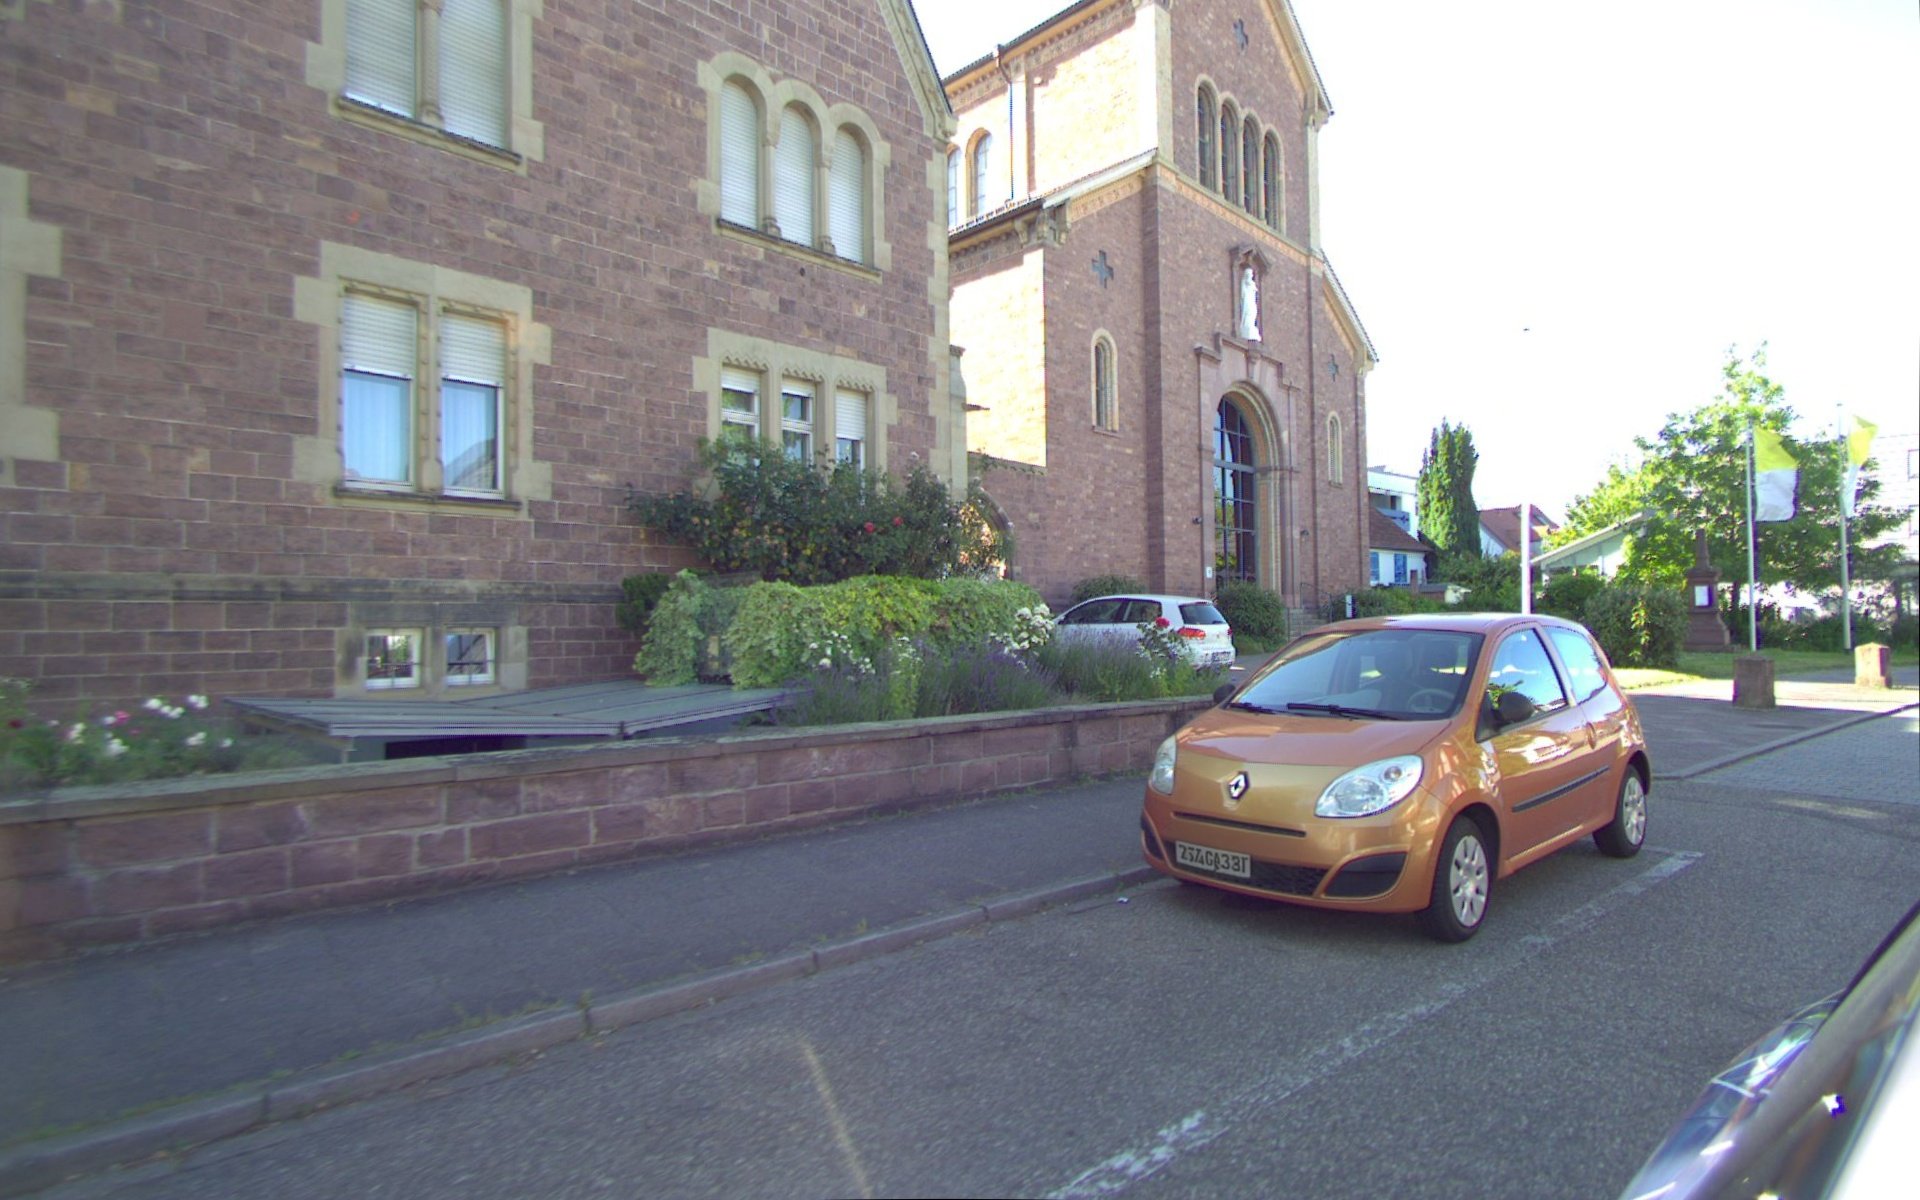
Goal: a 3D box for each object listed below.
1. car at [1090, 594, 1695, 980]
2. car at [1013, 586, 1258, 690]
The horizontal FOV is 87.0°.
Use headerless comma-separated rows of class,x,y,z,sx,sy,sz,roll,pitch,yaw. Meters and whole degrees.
car,2.677,0.770,5.847,3.864,1.498,1.650,1,-3,-41
car,2.998,0.567,17.783,3.900,1.514,1.874,2,3,45
